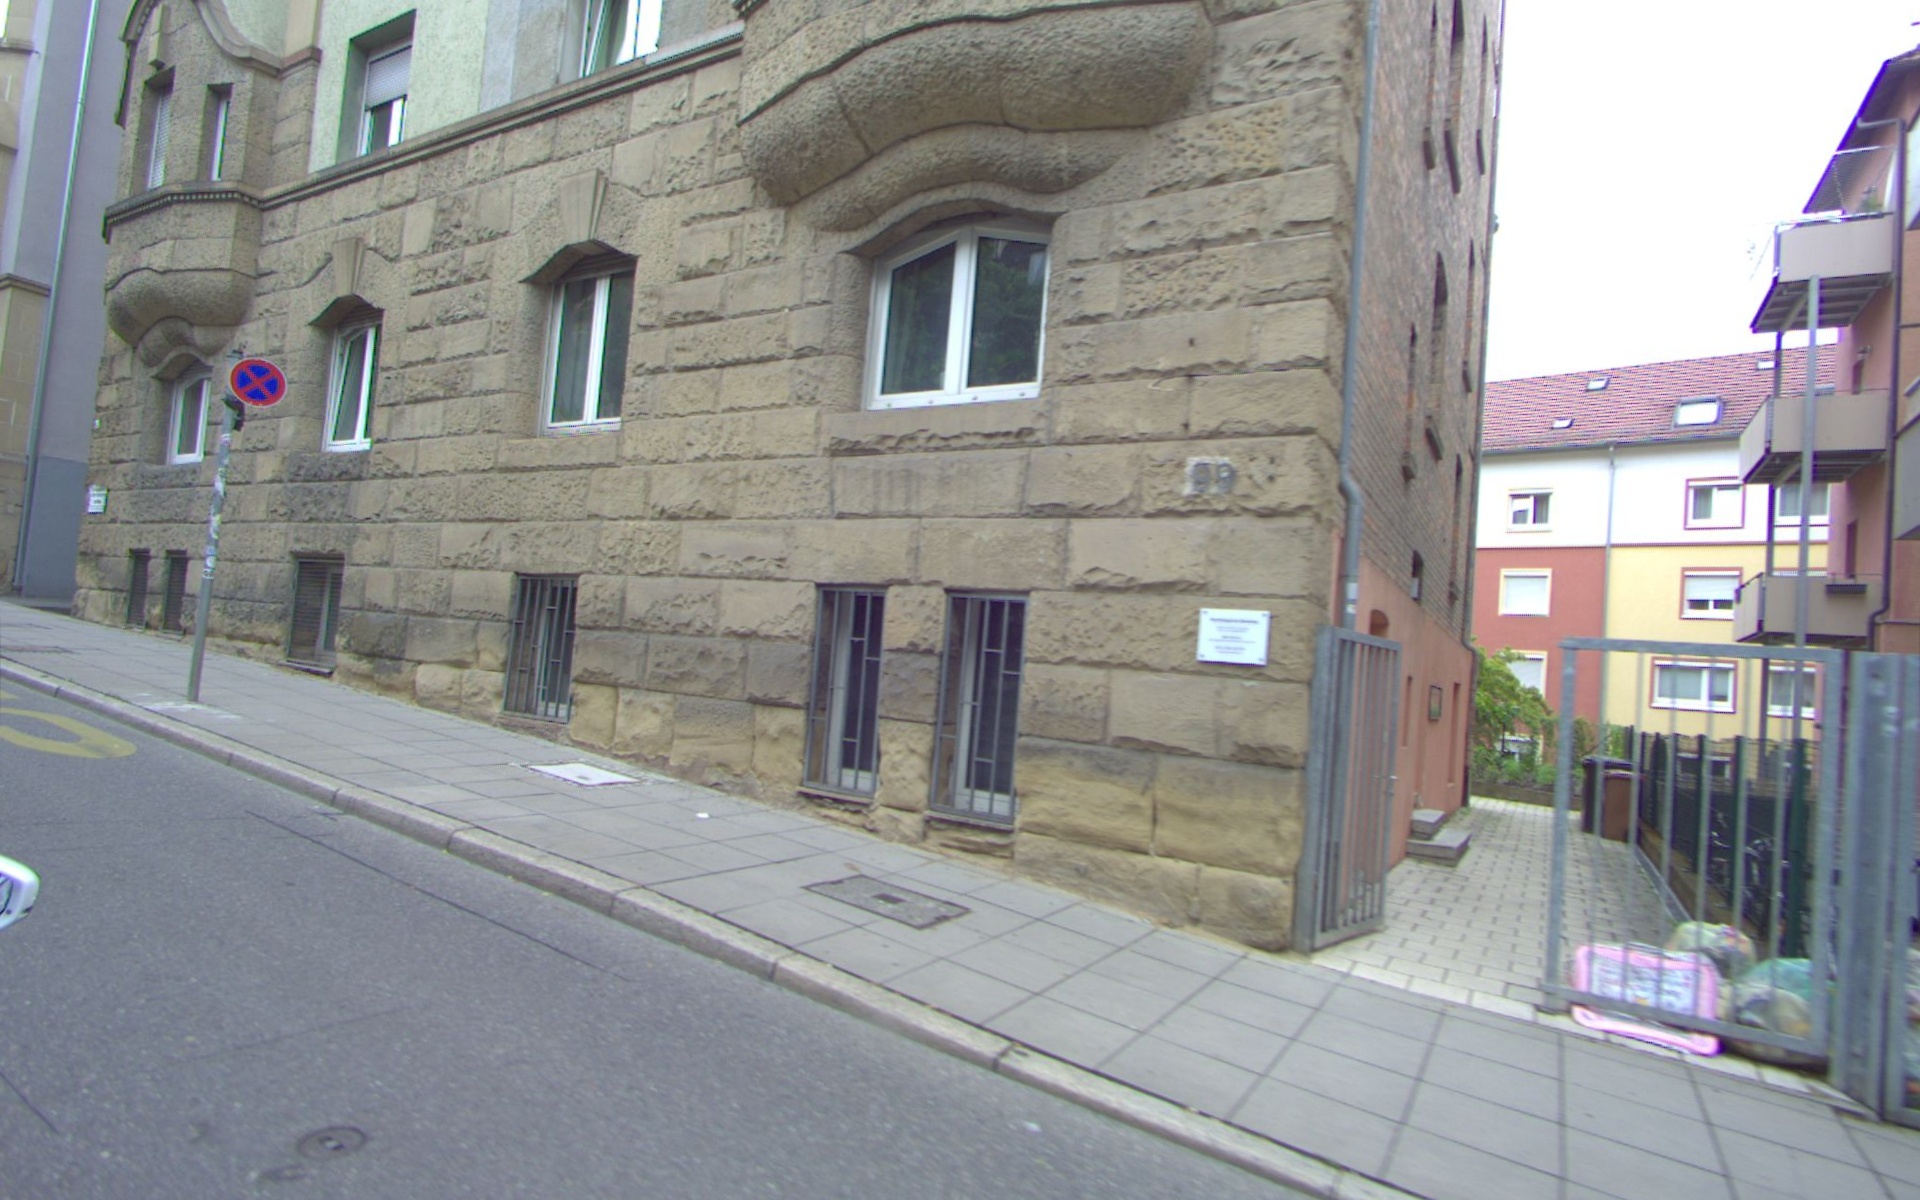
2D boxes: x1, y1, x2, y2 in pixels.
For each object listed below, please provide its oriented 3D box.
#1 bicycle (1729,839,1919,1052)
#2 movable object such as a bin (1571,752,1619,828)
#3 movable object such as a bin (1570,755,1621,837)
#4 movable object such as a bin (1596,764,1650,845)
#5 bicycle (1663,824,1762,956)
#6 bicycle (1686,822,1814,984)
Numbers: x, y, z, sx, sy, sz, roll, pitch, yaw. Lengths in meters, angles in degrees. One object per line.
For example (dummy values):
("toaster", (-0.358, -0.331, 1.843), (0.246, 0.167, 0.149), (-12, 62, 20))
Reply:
("bicycle", (5.606, 2.158, 6.600), (0.542, 1.052, 1.933), (6, -8, 30))
("movable object such as a bin", (9.641, 2.881, 15.286), (0.510, 1.043, 0.460), (5, -2, 29))
("movable object such as a bin", (8.956, 2.746, 14.179), (0.510, 1.043, 0.460), (5, -2, 29))
("movable object such as a bin", (8.960, 2.751, 13.612), (0.510, 0.970, 0.460), (5, -2, 29))
("bicycle", (8.310, 3.159, 11.168), (0.542, 1.220, 1.933), (6, -8, 30))
("bicycle", (7.227, 2.718, 9.277), (0.542, 1.220, 1.933), (6, -8, 30))
